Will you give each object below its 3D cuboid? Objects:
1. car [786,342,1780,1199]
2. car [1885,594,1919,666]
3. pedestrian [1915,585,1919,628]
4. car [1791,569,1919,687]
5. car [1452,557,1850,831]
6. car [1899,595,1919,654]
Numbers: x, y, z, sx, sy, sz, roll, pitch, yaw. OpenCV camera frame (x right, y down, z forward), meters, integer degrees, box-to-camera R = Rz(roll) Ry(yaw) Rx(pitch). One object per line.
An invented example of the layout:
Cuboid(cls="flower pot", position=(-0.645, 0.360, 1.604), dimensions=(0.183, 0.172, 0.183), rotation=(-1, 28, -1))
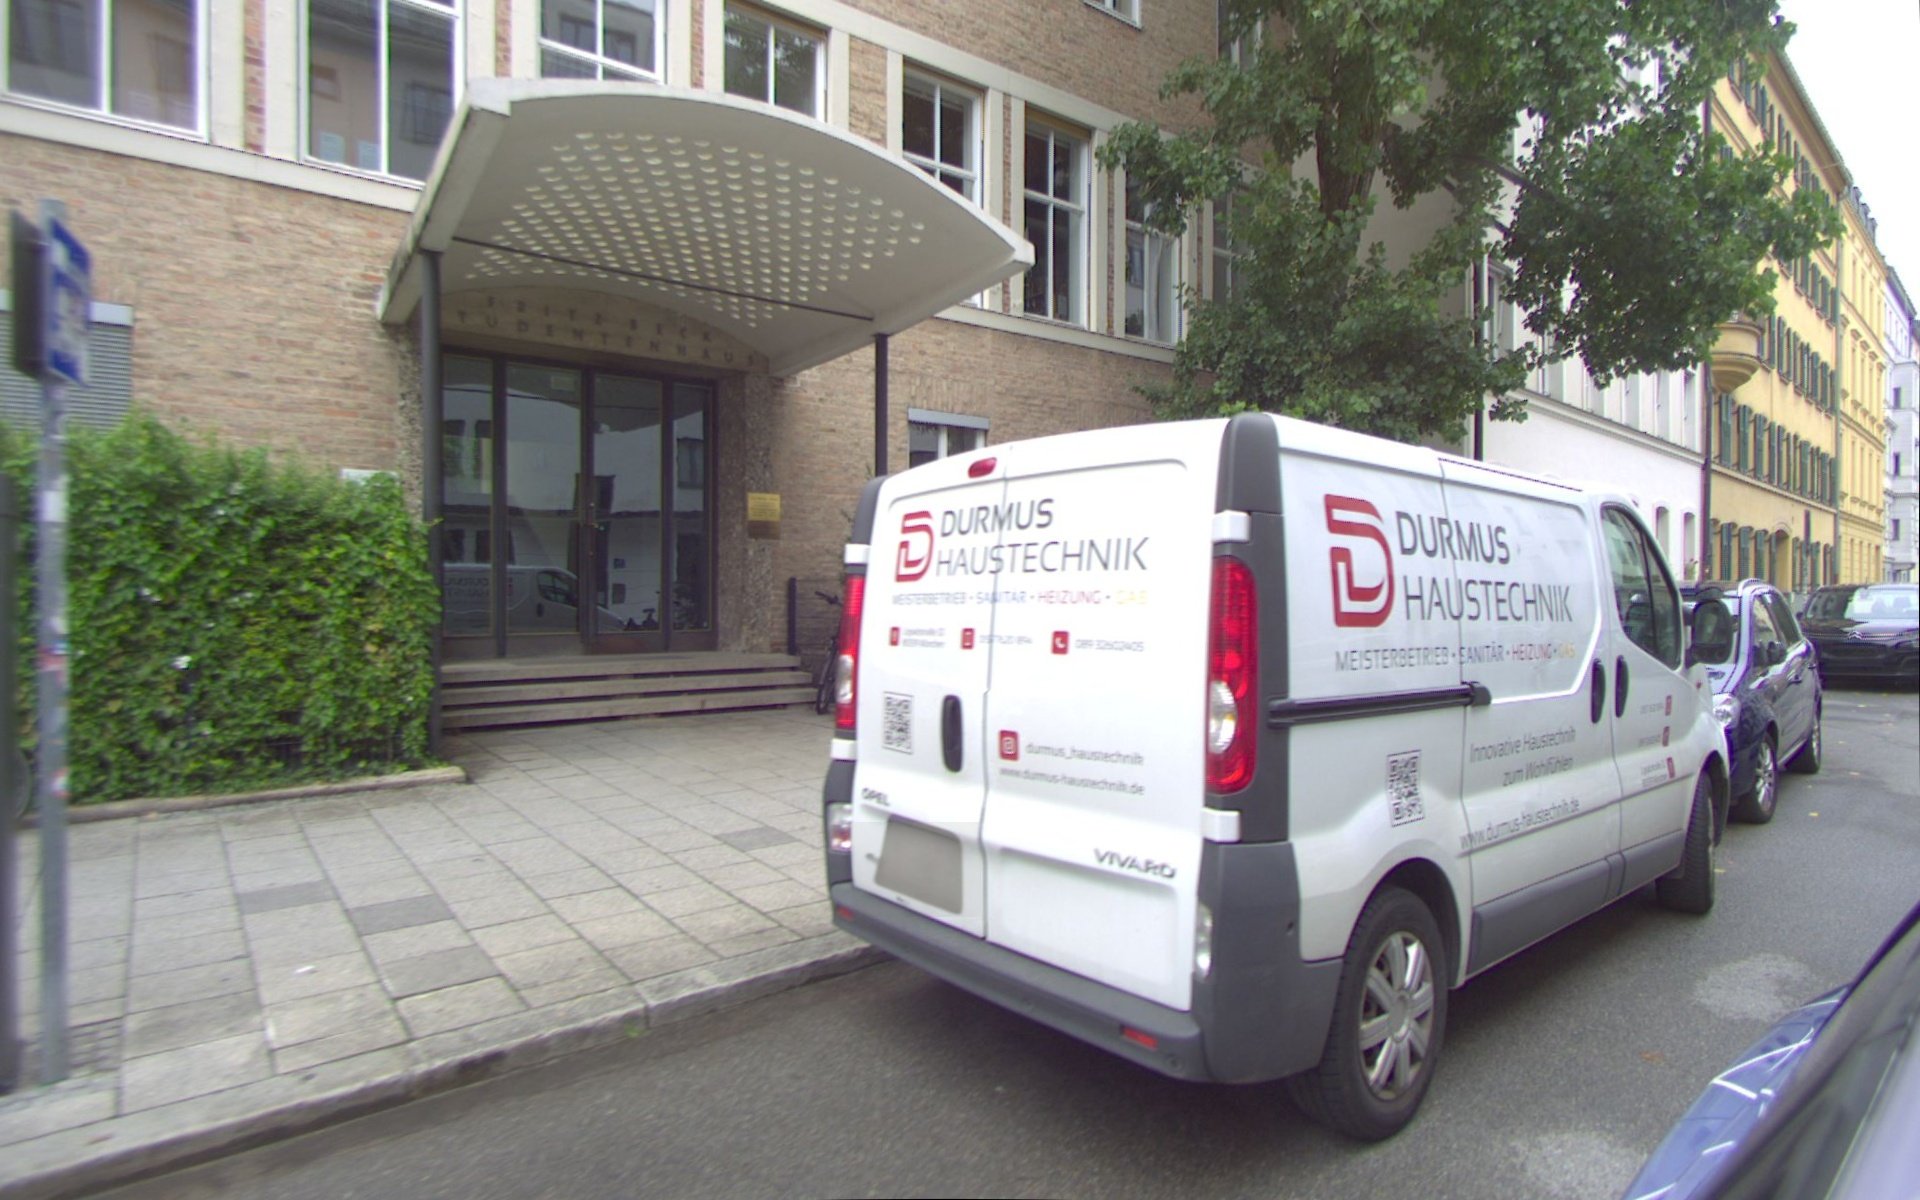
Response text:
Cuboid(cls="car", position=(1.811, 0.403, 4.440), dimensions=(4.787, 1.948, 1.886), rotation=(0, 0, -40))
Cuboid(cls="car", position=(21.281, 0.607, 21.761), dimensions=(4.382, 1.442, 1.715), rotation=(0, 1, -43))
Cuboid(cls="pedestrian", position=(37.323, 0.260, 39.001), dimensions=(0.881, 1.659, 0.597), rotation=(1, 3, -44))
Cuboid(cls="car", position=(15.810, 0.416, 17.266), dimensions=(4.128, 1.799, 1.849), rotation=(-1, -1, -41))
Cuboid(cls="car", position=(5.674, 0.540, 8.093), dimensions=(4.145, 1.620, 1.809), rotation=(0, 0, -44))
Cuboid(cls="car", position=(25.773, 0.621, 26.218), dimensions=(3.931, 1.482, 1.748), rotation=(0, 0, -42))
